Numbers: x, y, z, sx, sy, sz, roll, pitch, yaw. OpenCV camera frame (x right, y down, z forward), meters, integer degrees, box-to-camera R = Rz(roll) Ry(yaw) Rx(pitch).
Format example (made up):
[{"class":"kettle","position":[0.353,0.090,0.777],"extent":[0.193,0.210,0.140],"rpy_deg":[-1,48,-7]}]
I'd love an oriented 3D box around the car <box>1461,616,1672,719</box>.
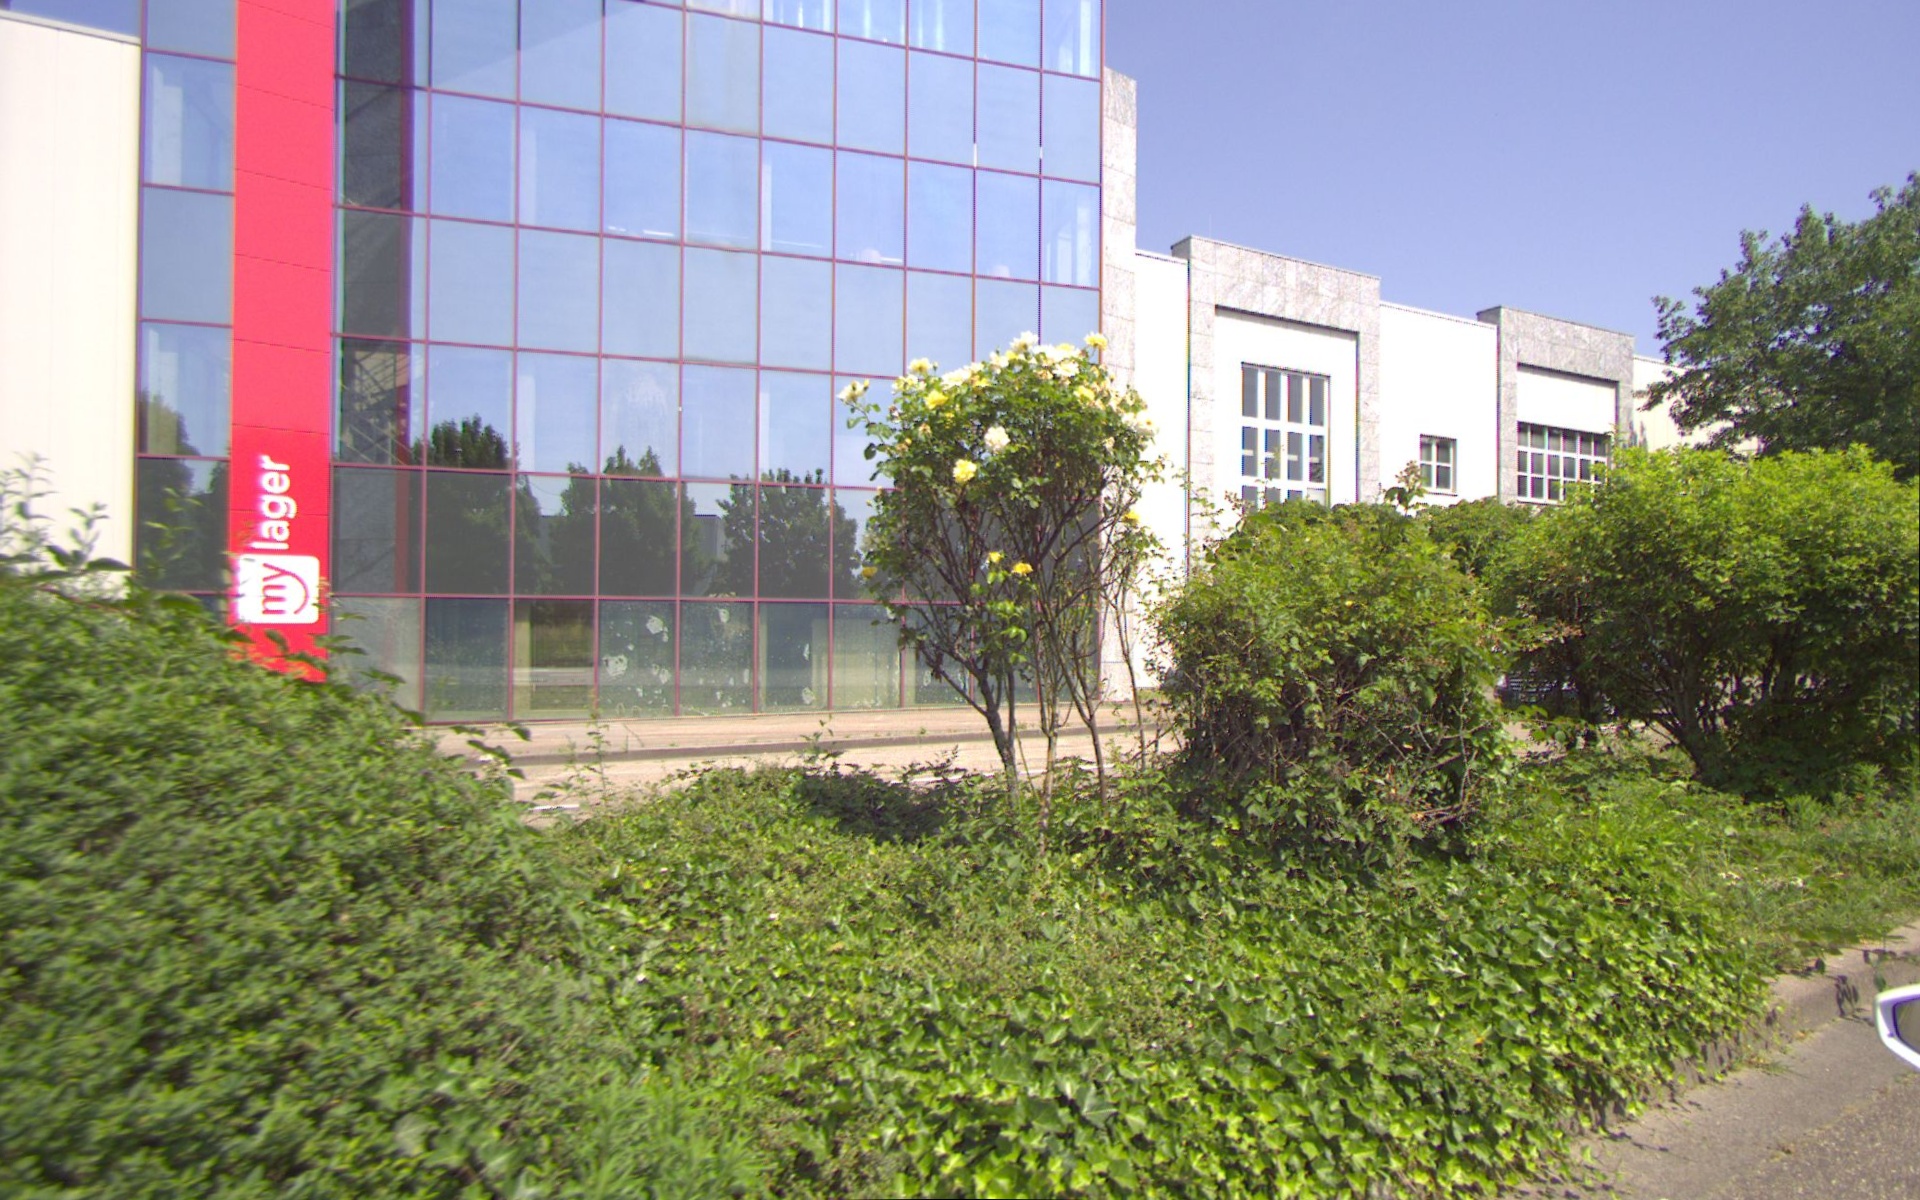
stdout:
[{"class":"car","position":[10.810,1.165,17.895],"extent":[3.429,1.659,1.725],"rpy_deg":[1,-3,-29]}]
